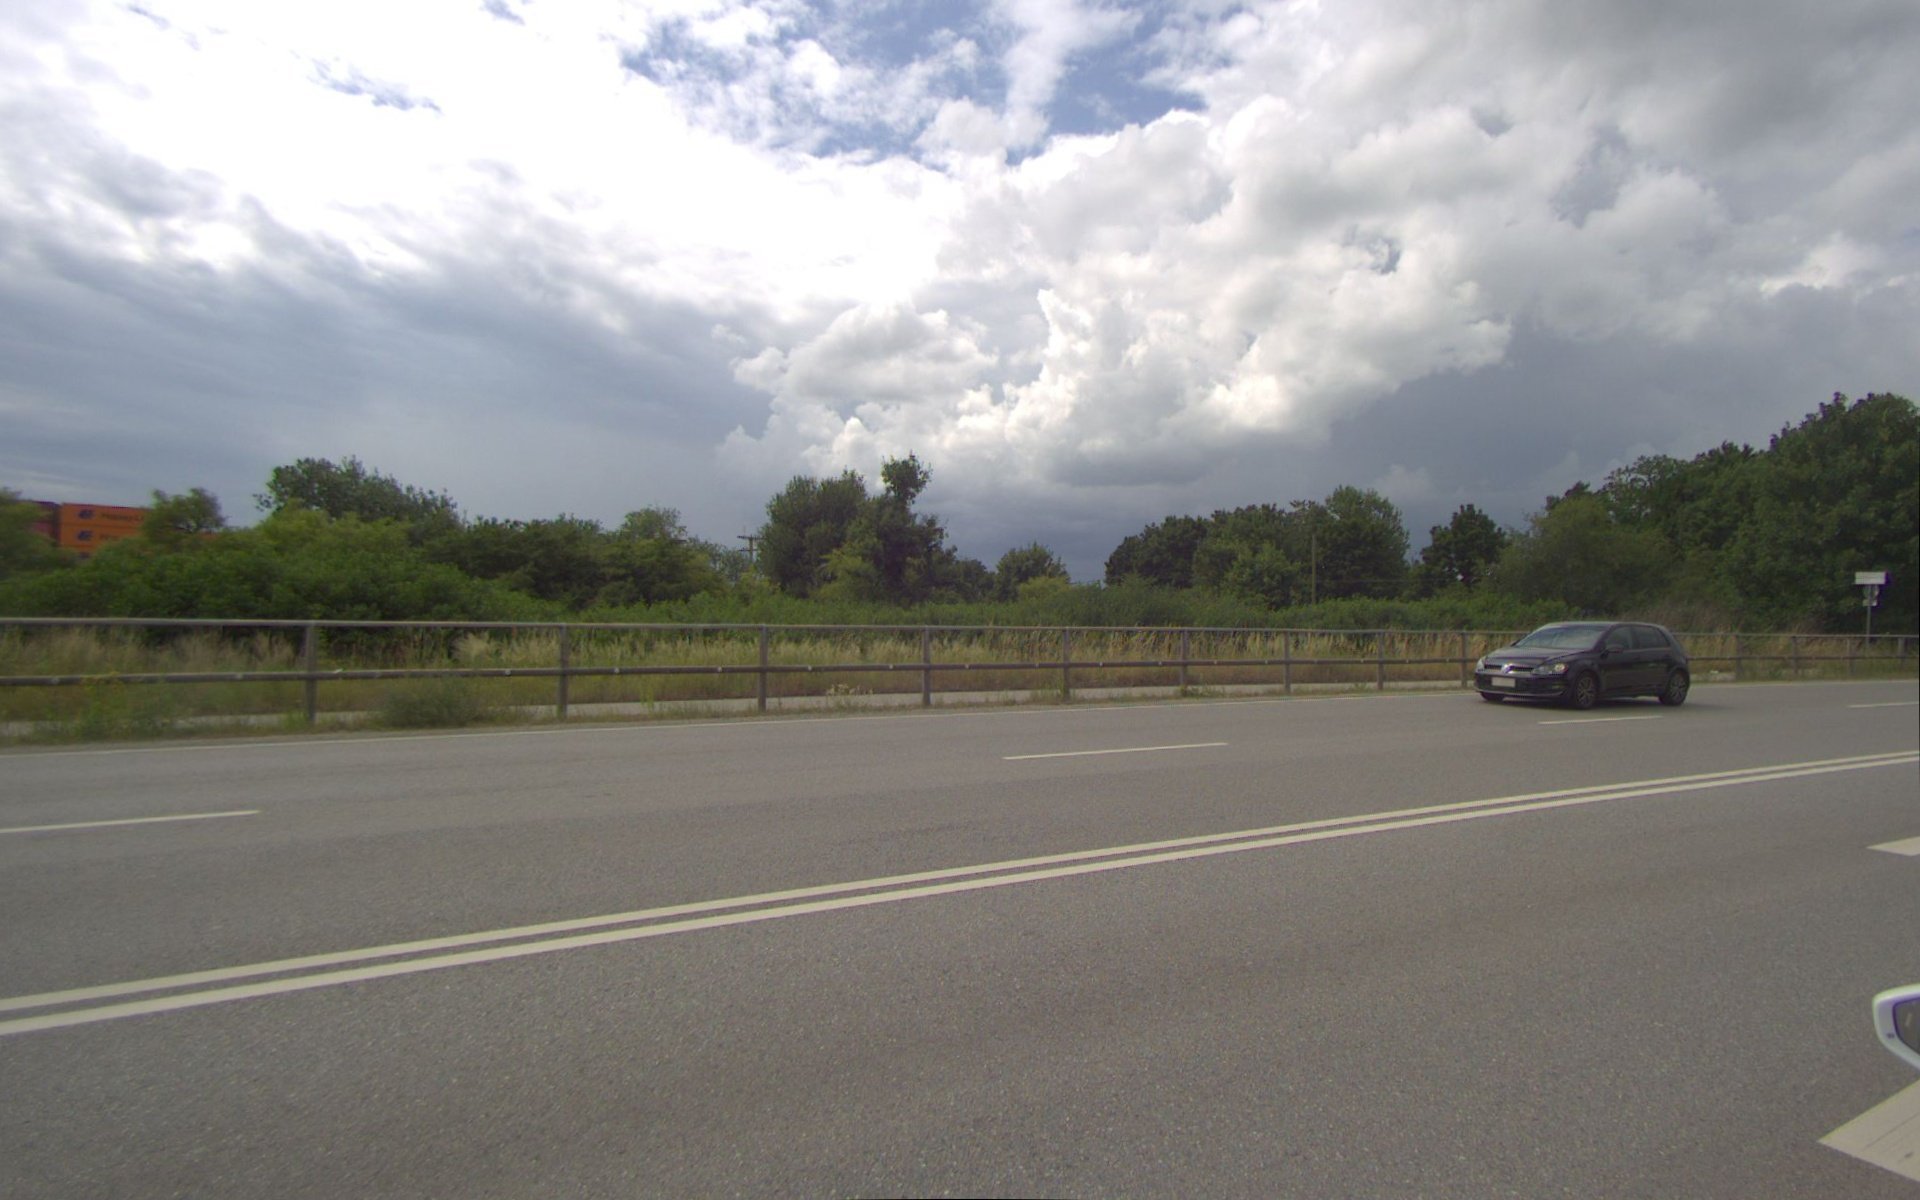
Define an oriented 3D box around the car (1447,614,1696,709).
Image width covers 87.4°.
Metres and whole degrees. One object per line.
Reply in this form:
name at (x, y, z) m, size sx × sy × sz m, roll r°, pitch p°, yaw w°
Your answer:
car at (10.645, 1.018, 17.476) m, size 3.949 × 1.460 × 1.939 m, roll 1°, pitch -1°, yaw -27°
